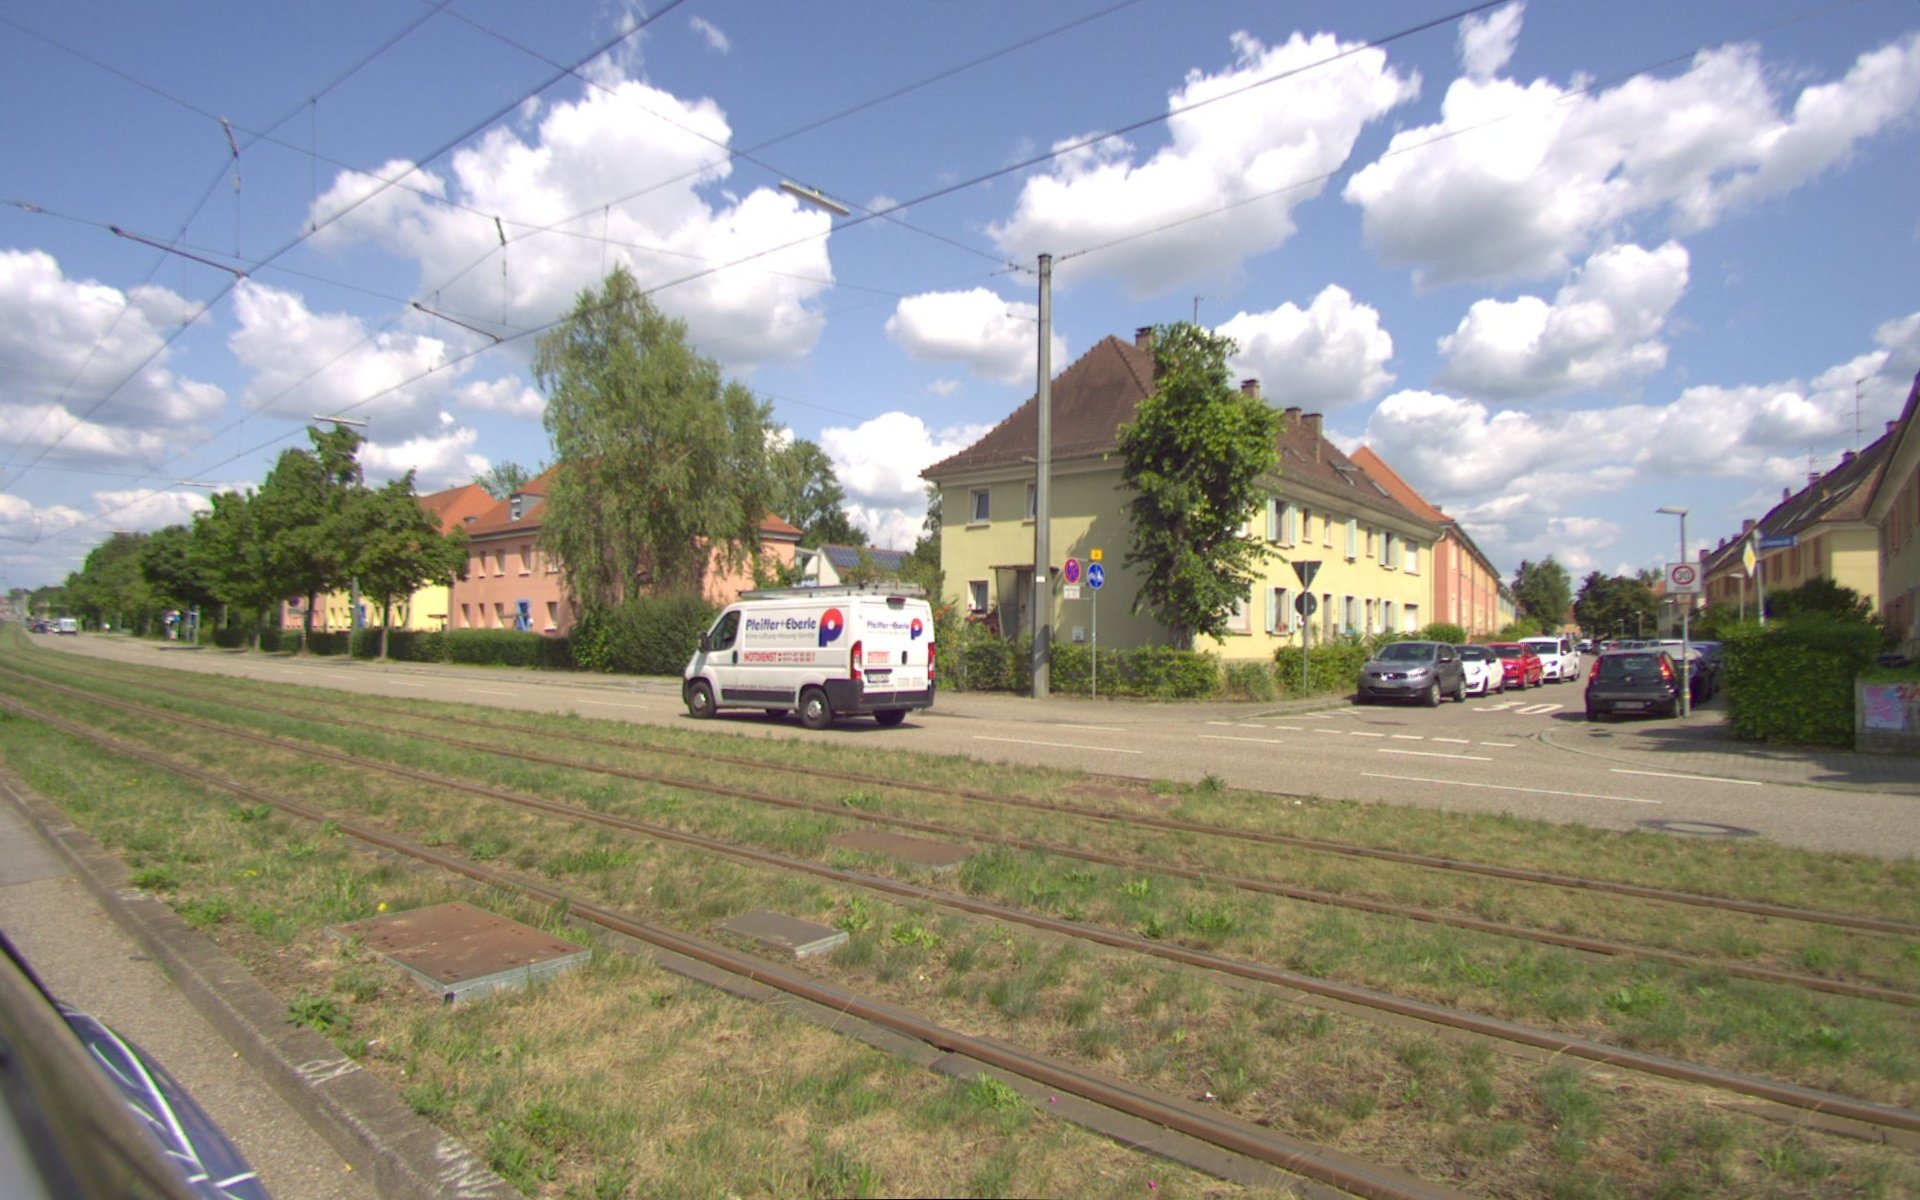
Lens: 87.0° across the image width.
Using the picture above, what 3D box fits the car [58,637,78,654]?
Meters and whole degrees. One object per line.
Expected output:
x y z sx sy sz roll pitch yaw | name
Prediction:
-137.947 7.053 156.452 2.008 2.455 5.782 4 -4 -44 | car

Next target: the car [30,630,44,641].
-155.996 5.963 171.009 1.666 1.760 4.231 2 -2 -44 | car

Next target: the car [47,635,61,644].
-162.544 7.075 181.480 1.666 1.442 4.280 2 -2 -44 | car

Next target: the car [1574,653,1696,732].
14.531 1.895 21.703 1.891 1.479 3.705 -1 -3 38 | car

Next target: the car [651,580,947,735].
-2.990 0.944 18.146 5.325 2.390 2.175 0 -3 38 | car

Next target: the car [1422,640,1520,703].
14.985 2.054 29.588 1.726 1.711 3.702 -2 -4 40 | car

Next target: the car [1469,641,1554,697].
18.157 2.224 33.267 1.726 1.711 3.702 -2 -4 41 | car

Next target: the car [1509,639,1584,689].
21.911 2.372 37.749 1.726 1.742 3.702 -2 -4 41 | car

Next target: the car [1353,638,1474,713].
11.356 1.833 25.236 1.822 1.699 3.704 -2 -4 39 | car
